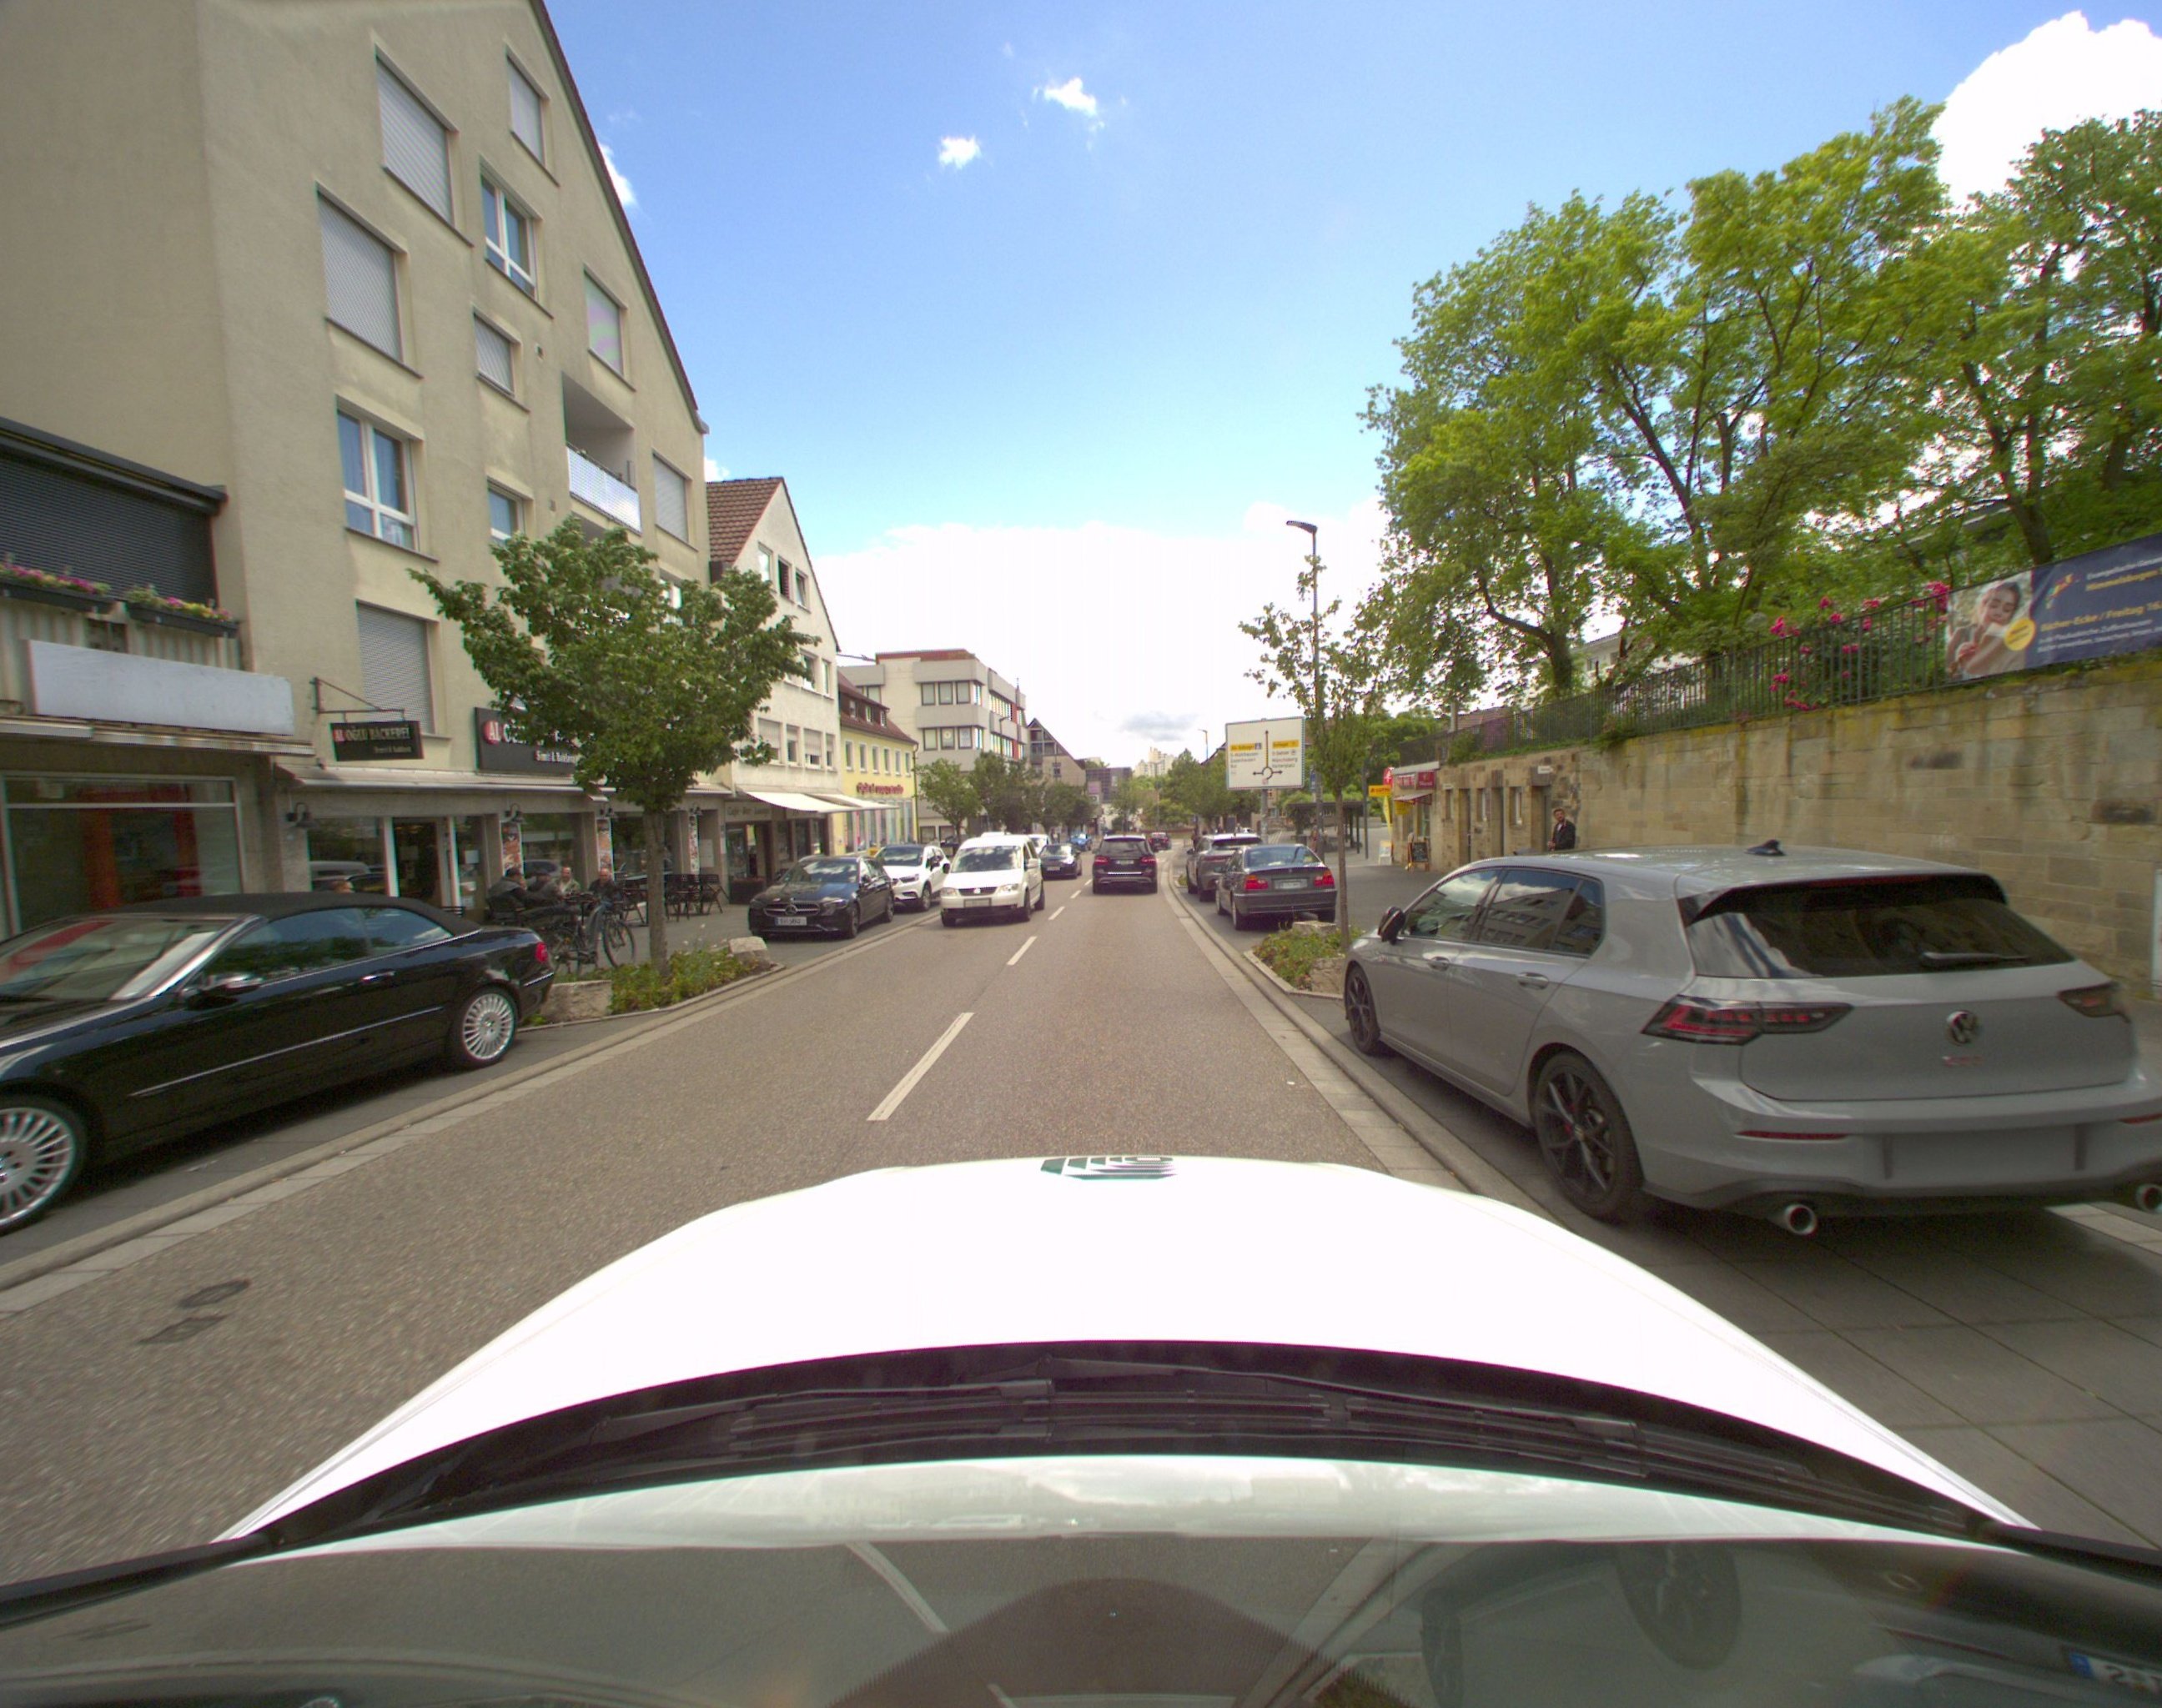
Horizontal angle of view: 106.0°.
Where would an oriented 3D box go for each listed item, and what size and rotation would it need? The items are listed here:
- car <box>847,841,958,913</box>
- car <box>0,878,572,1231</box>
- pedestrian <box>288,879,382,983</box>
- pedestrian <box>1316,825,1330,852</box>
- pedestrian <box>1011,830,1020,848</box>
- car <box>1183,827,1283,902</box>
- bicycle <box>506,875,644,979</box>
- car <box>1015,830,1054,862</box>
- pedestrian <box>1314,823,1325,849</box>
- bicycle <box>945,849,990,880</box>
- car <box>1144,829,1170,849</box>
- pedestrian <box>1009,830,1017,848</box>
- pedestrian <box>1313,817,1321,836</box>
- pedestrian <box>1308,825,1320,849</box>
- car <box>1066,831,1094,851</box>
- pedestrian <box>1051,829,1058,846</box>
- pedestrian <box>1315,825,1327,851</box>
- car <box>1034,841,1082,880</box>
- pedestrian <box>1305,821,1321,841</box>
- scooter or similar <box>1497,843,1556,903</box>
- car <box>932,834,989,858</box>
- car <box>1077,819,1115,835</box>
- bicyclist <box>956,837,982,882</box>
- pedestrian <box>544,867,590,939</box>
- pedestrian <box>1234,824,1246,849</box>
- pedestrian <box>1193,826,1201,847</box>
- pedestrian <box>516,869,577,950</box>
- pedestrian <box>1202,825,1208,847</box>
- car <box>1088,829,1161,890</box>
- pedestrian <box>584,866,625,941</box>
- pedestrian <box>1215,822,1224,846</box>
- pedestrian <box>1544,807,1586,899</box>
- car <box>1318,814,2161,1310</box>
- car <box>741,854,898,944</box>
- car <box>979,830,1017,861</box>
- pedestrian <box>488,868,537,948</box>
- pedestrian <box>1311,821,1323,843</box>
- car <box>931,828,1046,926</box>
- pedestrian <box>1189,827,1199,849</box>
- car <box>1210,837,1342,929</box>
[{"bbox_3d":[-4.490,0.499,21.110,1.658,1.646,4.139,0,1,4],"label":"car"},{"bbox_3d":[-5.426,0.940,4.958,1.650,1.392,4.447,-1,0,3],"label":"car"},{"bbox_3d":[-9.460,0.960,10.343,0.593,1.246,0.599,-1,1,2],"label":"pedestrian"},{"bbox_3d":[12.586,-0.810,42.381,0.612,1.320,0.588,-2,4,10],"label":"pedestrian"},{"bbox_3d":[-5.828,-1.361,71.974,0.586,1.566,0.641,-4,2,-16],"label":"pedestrian"},{"bbox_3d":[3.884,0.193,21.534,1.921,1.724,4.577,-2,1,3],"label":"car"},{"bbox_3d":[-6.278,0.861,10.234,0.482,1.107,1.908,-1,1,1],"label":"bicycle"},{"bbox_3d":[-2.574,-0.503,45.614,1.649,1.671,4.356,0,2,4],"label":"car"},{"bbox_3d":[12.765,-0.958,43.654,0.495,1.320,0.527,-2,4,11],"label":"pedestrian"},{"bbox_3d":[-4.401,0.383,31.737,1.660,1.087,0.409,-4,2,-34],"label":"bicycle"},{"bbox_3d":[6.318,-1.291,67.859,2.043,1.588,4.379,1,2,4],"label":"car"},{"bbox_3d":[-6.066,-1.307,72.667,0.507,1.566,0.588,-3,2,8],"label":"pedestrian"},{"bbox_3d":[16.444,-1.940,56.752,0.563,1.323,0.548,-1,2,16],"label":"pedestrian"},{"bbox_3d":[12.691,-0.922,44.378,0.564,1.261,0.543,-2,4,11],"label":"pedestrian"},{"bbox_3d":[-0.063,-1.109,68.959,1.684,1.599,4.344,1,2,9],"label":"car"},{"bbox_3d":[-2.547,-1.631,79.214,0.583,1.588,0.640,0,2,8],"label":"pedestrian"},{"bbox_3d":[12.687,-0.846,43.027,0.492,1.320,0.577,-2,4,10],"label":"pedestrian"},{"bbox_3d":[-0.892,0.235,33.299,1.600,1.388,3.632,-3,1,3],"label":"car"},{"bbox_3d":[15.129,-1.501,53.154,0.761,1.269,0.680,1,3,43],"label":"pedestrian"},{"bbox_3d":[8.283,0.351,15.157,0.806,1.072,0.562,-3,0,13],"label":"scooter or similar"},{"bbox_3d":[-8.284,-0.581,55.984,3.615,1.558,1.669,-1,2,0],"label":"car"},{"bbox_3d":[2.541,-4.641,140.519,6.294,2.560,2.196,0,-1,-14],"label":"car"},{"bbox_3d":[-4.351,0.202,31.743,0.781,1.694,0.505,-4,2,-32],"label":"bicyclist"},{"bbox_3d":[-9.382,0.879,14.866,0.425,1.249,0.567,-1,1,2],"label":"pedestrian"},{"bbox_3d":[10.866,-1.213,55.613,0.679,1.682,0.718,-2,2,18],"label":"pedestrian"},{"bbox_3d":[8.633,-1.320,60.735,0.497,1.565,0.499,-3,2,7],"label":"pedestrian"},{"bbox_3d":[-8.716,0.890,13.296,0.548,1.267,0.599,-1,1,2],"label":"pedestrian"},{"bbox_3d":[9.272,-1.346,60.879,0.391,1.565,0.353,-3,2,10],"label":"pedestrian"},{"bbox_3d":[1.266,0.154,25.333,2.021,1.727,4.433,-1,0,0],"label":"car"},{"bbox_3d":[-8.625,0.884,14.737,0.419,1.299,0.454,-1,1,2],"label":"pedestrian"},{"bbox_3d":[9.872,-1.429,57.958,0.508,1.680,0.577,-3,2,7],"label":"pedestrian"},{"bbox_3d":[8.910,-0.027,15.000,0.469,1.645,0.508,-3,0,13],"label":"pedestrian"},{"bbox_3d":[2.812,0.626,4.545,1.749,1.441,4.089,-3,0,0],"label":"car"},{"bbox_3d":[-4.935,0.757,16.062,1.835,1.451,4.510,0,1,-3],"label":"car"},{"bbox_3d":[-5.099,-0.572,50.497,1.749,1.813,4.479,0,2,2],"label":"car"},{"bbox_3d":[-9.316,0.873,13.347,0.393,1.249,0.500,-1,1,2],"label":"pedestrian"},{"bbox_3d":[14.251,-1.322,49.140,0.620,1.307,0.548,-3,2,11],"label":"pedestrian"},{"bbox_3d":[-1.887,0.419,17.896,1.739,1.802,4.215,-4,1,3],"label":"car"},{"bbox_3d":[8.108,-1.121,58.300,0.508,1.549,0.490,-2,2,33],"label":"pedestrian"},{"bbox_3d":[3.469,0.473,15.269,1.673,1.417,4.376,-2,0,4],"label":"car"}]
